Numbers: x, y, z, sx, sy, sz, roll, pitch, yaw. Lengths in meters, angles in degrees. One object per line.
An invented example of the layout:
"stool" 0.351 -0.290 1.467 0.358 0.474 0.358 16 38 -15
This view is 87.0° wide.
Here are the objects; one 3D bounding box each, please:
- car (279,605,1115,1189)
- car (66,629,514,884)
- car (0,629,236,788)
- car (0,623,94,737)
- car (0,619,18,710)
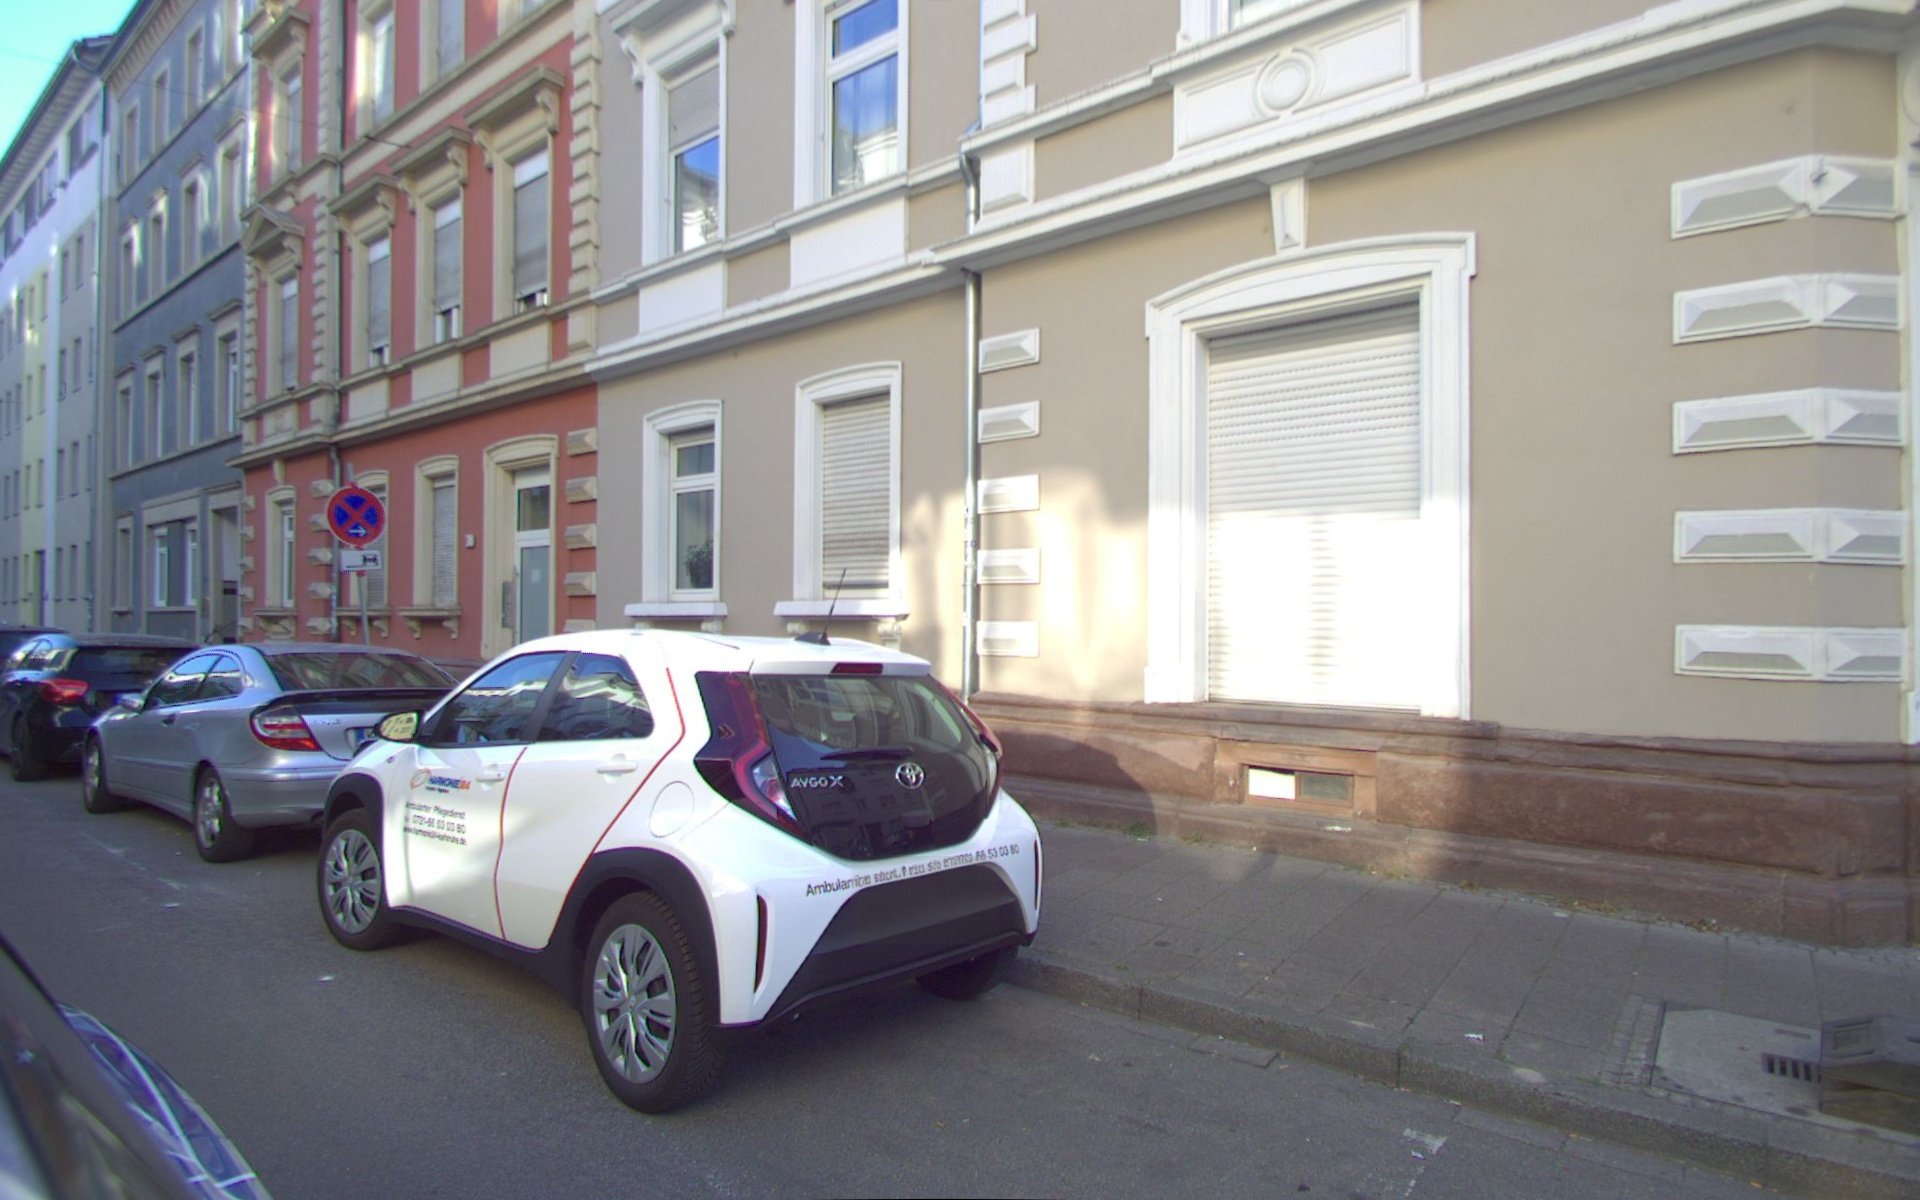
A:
"car" -1.408 0.849 4.543 3.841 1.507 1.667 -1 -5 40
"car" -5.231 0.990 7.724 3.956 1.439 1.594 -1 -4 37
"car" -9.513 1.076 11.019 3.907 1.426 1.569 -1 -5 39
"car" -14.295 1.089 14.844 4.189 1.510 1.519 -1 -3 37
"car" -18.228 1.103 17.941 4.424 1.534 1.578 -1 -1 38
